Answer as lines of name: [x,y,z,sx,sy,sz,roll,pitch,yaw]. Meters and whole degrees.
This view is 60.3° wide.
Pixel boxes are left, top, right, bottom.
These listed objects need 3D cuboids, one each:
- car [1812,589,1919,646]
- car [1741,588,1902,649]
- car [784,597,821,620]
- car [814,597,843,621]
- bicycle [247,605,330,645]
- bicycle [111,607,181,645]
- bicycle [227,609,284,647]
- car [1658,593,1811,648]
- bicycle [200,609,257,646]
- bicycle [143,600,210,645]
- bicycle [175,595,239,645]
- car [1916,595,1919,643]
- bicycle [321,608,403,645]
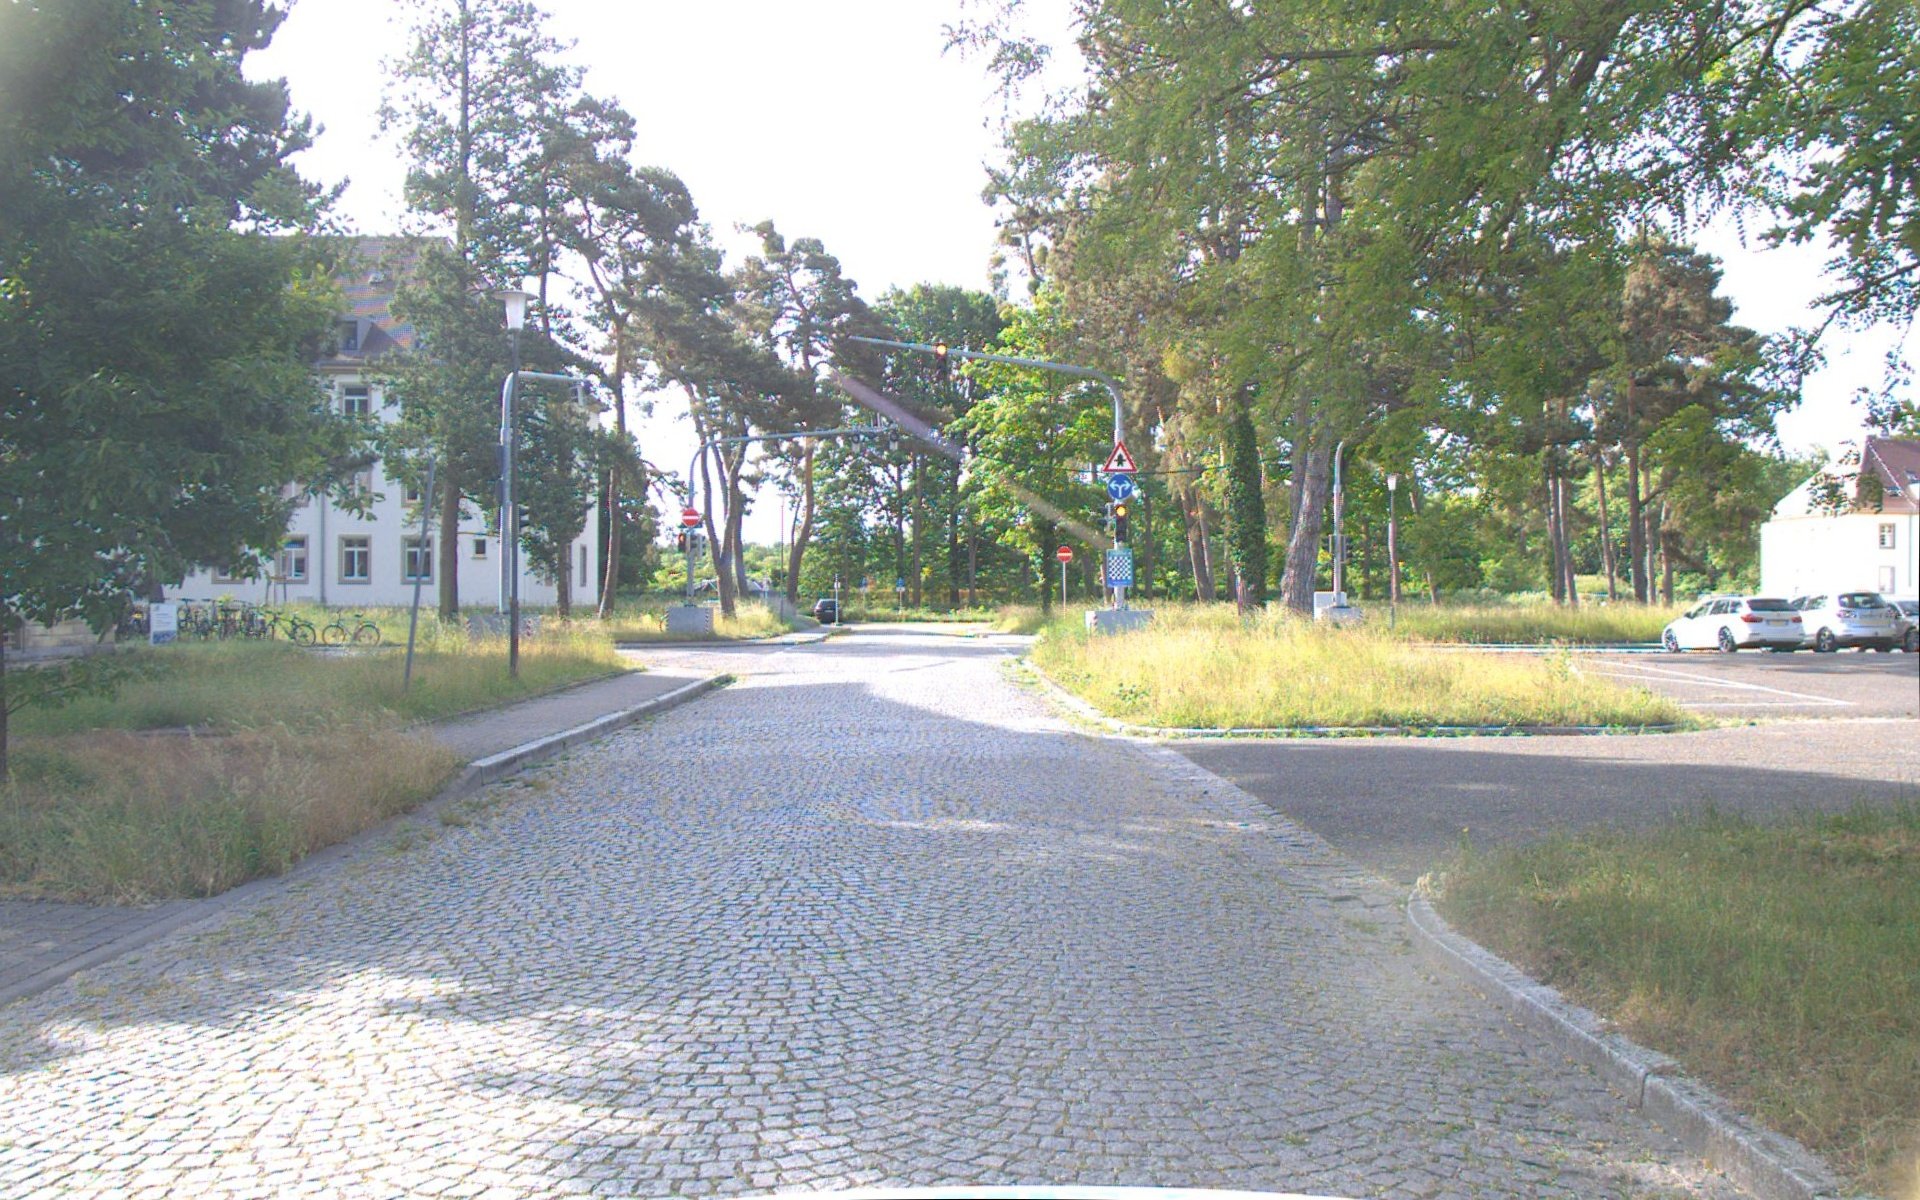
car: [24.656,0.421,43.762,1.697,1.335,4.327,-3,1,-5]
car: [22.467,0.451,43.310,1.697,1.502,4.327,0,0,-5]
car: [-10.485,0.531,110.476,1.745,1.516,3.757,0,0,5]
car: [-8.379,0.555,105.743,1.808,1.512,3.997,0,0,-4]
bicycle: [-19.426,0.721,47.870,2.076,1.128,0.828,0,0,-5]
bicycle: [-24.072,0.754,48.968,0.882,1.065,2.553,0,0,-2]
bicycle: [-20.886,0.823,49.074,0.809,1.065,2.123,0,0,-2]
car: [20.005,0.488,42.923,1.697,1.335,4.327,0,0,-5]
bicycle: [-21.652,0.806,49.006,0.809,1.065,2.123,0,0,-2]
bicycle: [-23.187,0.655,48.997,0.809,1.303,2.553,0,0,-2]
bicycle: [-22.437,0.577,49.323,0.809,1.462,2.553,0,0,-2]
car: [27.702,0.532,44.062,1.697,1.335,4.327,-1,0,-5]
bicycle: [-17.345,0.764,48.032,2.076,1.065,0.828,0,0,-5]
